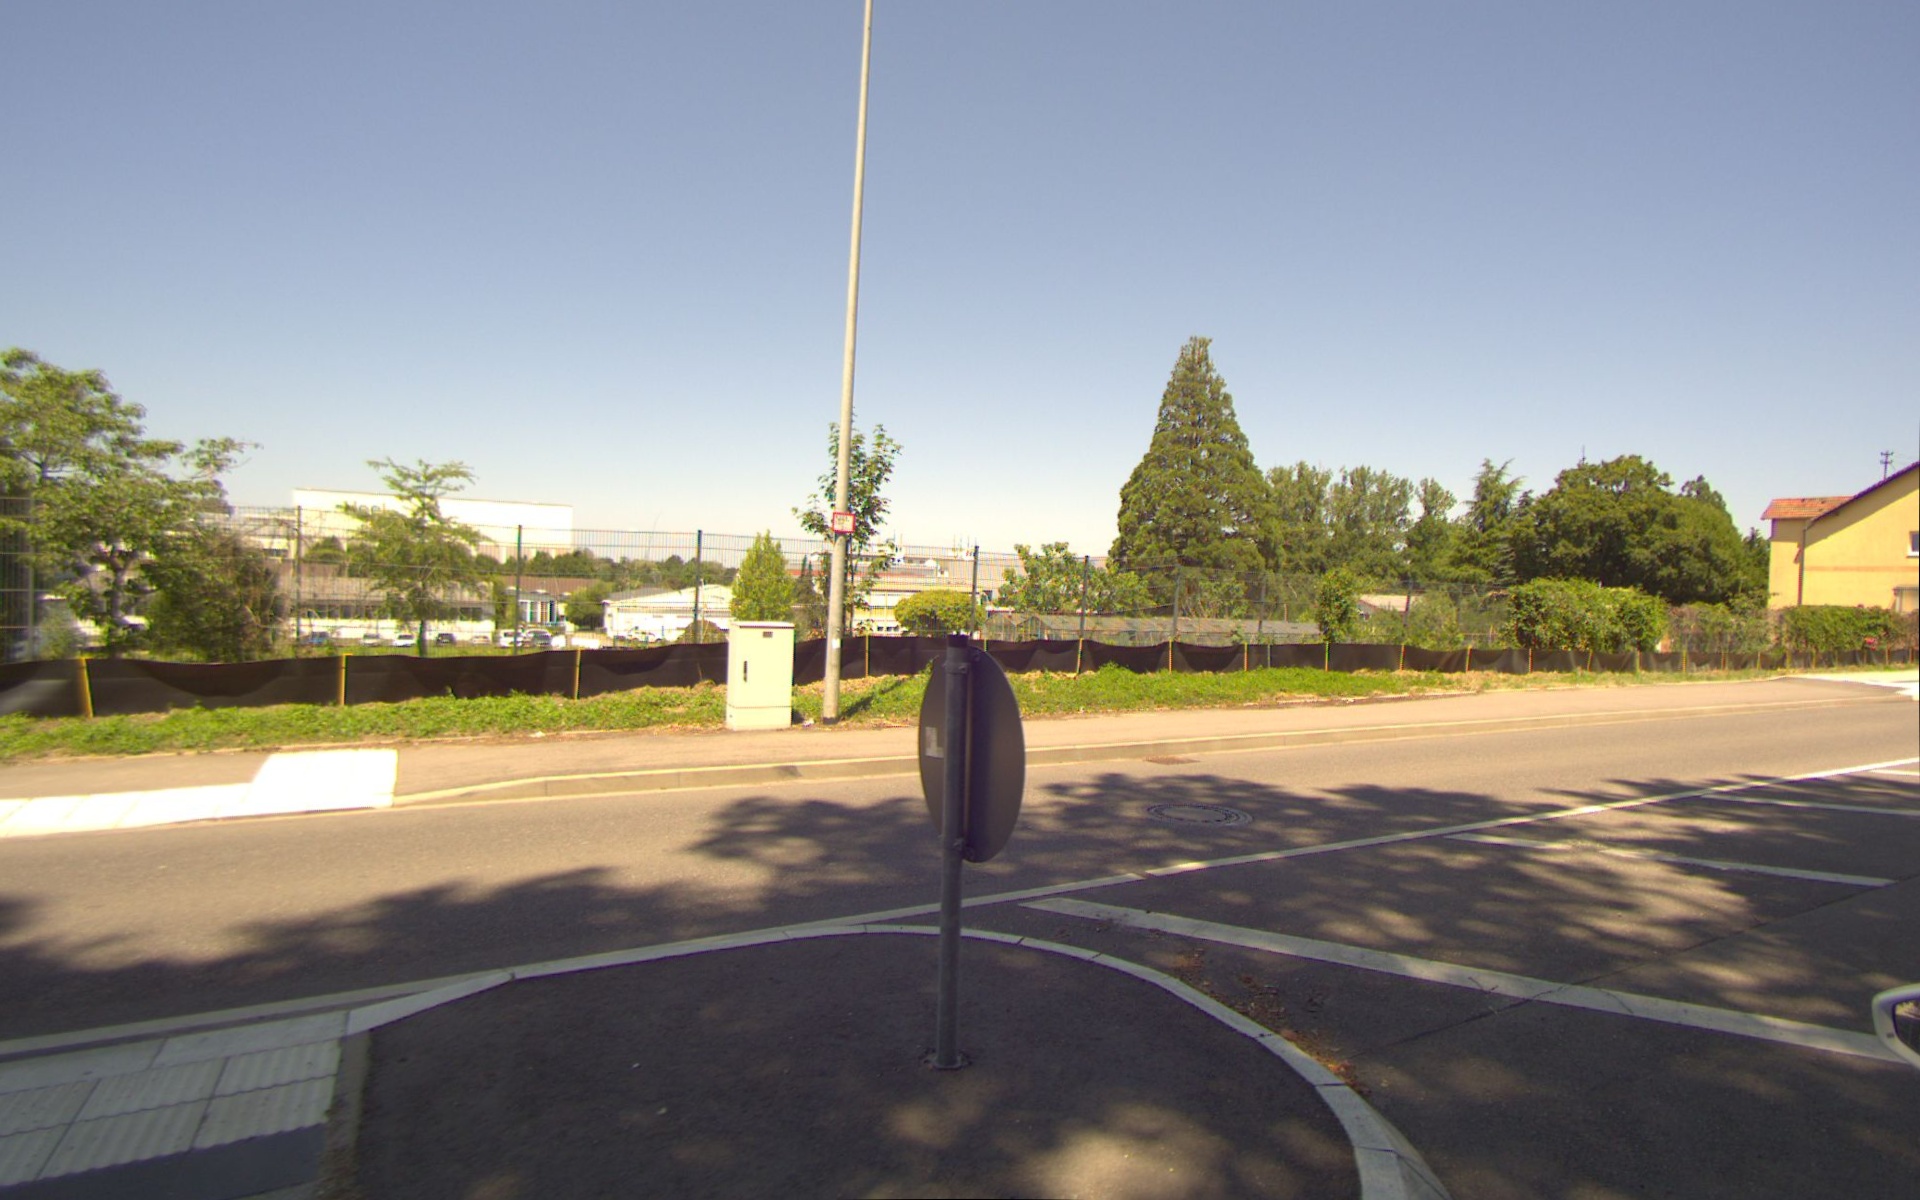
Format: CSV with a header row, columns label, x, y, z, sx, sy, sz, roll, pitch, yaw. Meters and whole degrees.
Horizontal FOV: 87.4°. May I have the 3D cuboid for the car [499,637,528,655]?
label,x,y,z,sx,sy,sz,roll,pitch,yaw
car,-42.799,4.366,96.291,1.978,1.528,3.964,1,0,-32

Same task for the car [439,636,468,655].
label,x,y,z,sx,sy,sz,roll,pitch,yaw
car,-47.185,4.220,93.546,1.978,1.528,3.964,1,0,-32

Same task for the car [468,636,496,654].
label,x,y,z,sx,sy,sz,roll,pitch,yaw
car,-45.405,4.277,95.422,1.978,1.528,3.964,1,0,-32

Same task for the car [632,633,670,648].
label,x,y,z,sx,sy,sz,roll,pitch,yaw
car,-35.035,4.585,113.916,3.945,1.528,1.988,1,0,-24

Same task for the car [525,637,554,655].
label,x,y,z,sx,sy,sz,roll,pitch,yaw
car,-40.598,4.437,97.001,1.978,1.528,3.964,1,0,-32

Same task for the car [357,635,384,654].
label,x,y,z,sx,sy,sz,roll,pitch,yaw
car,-53.263,4.020,90.678,1.978,1.528,3.964,1,0,-32
